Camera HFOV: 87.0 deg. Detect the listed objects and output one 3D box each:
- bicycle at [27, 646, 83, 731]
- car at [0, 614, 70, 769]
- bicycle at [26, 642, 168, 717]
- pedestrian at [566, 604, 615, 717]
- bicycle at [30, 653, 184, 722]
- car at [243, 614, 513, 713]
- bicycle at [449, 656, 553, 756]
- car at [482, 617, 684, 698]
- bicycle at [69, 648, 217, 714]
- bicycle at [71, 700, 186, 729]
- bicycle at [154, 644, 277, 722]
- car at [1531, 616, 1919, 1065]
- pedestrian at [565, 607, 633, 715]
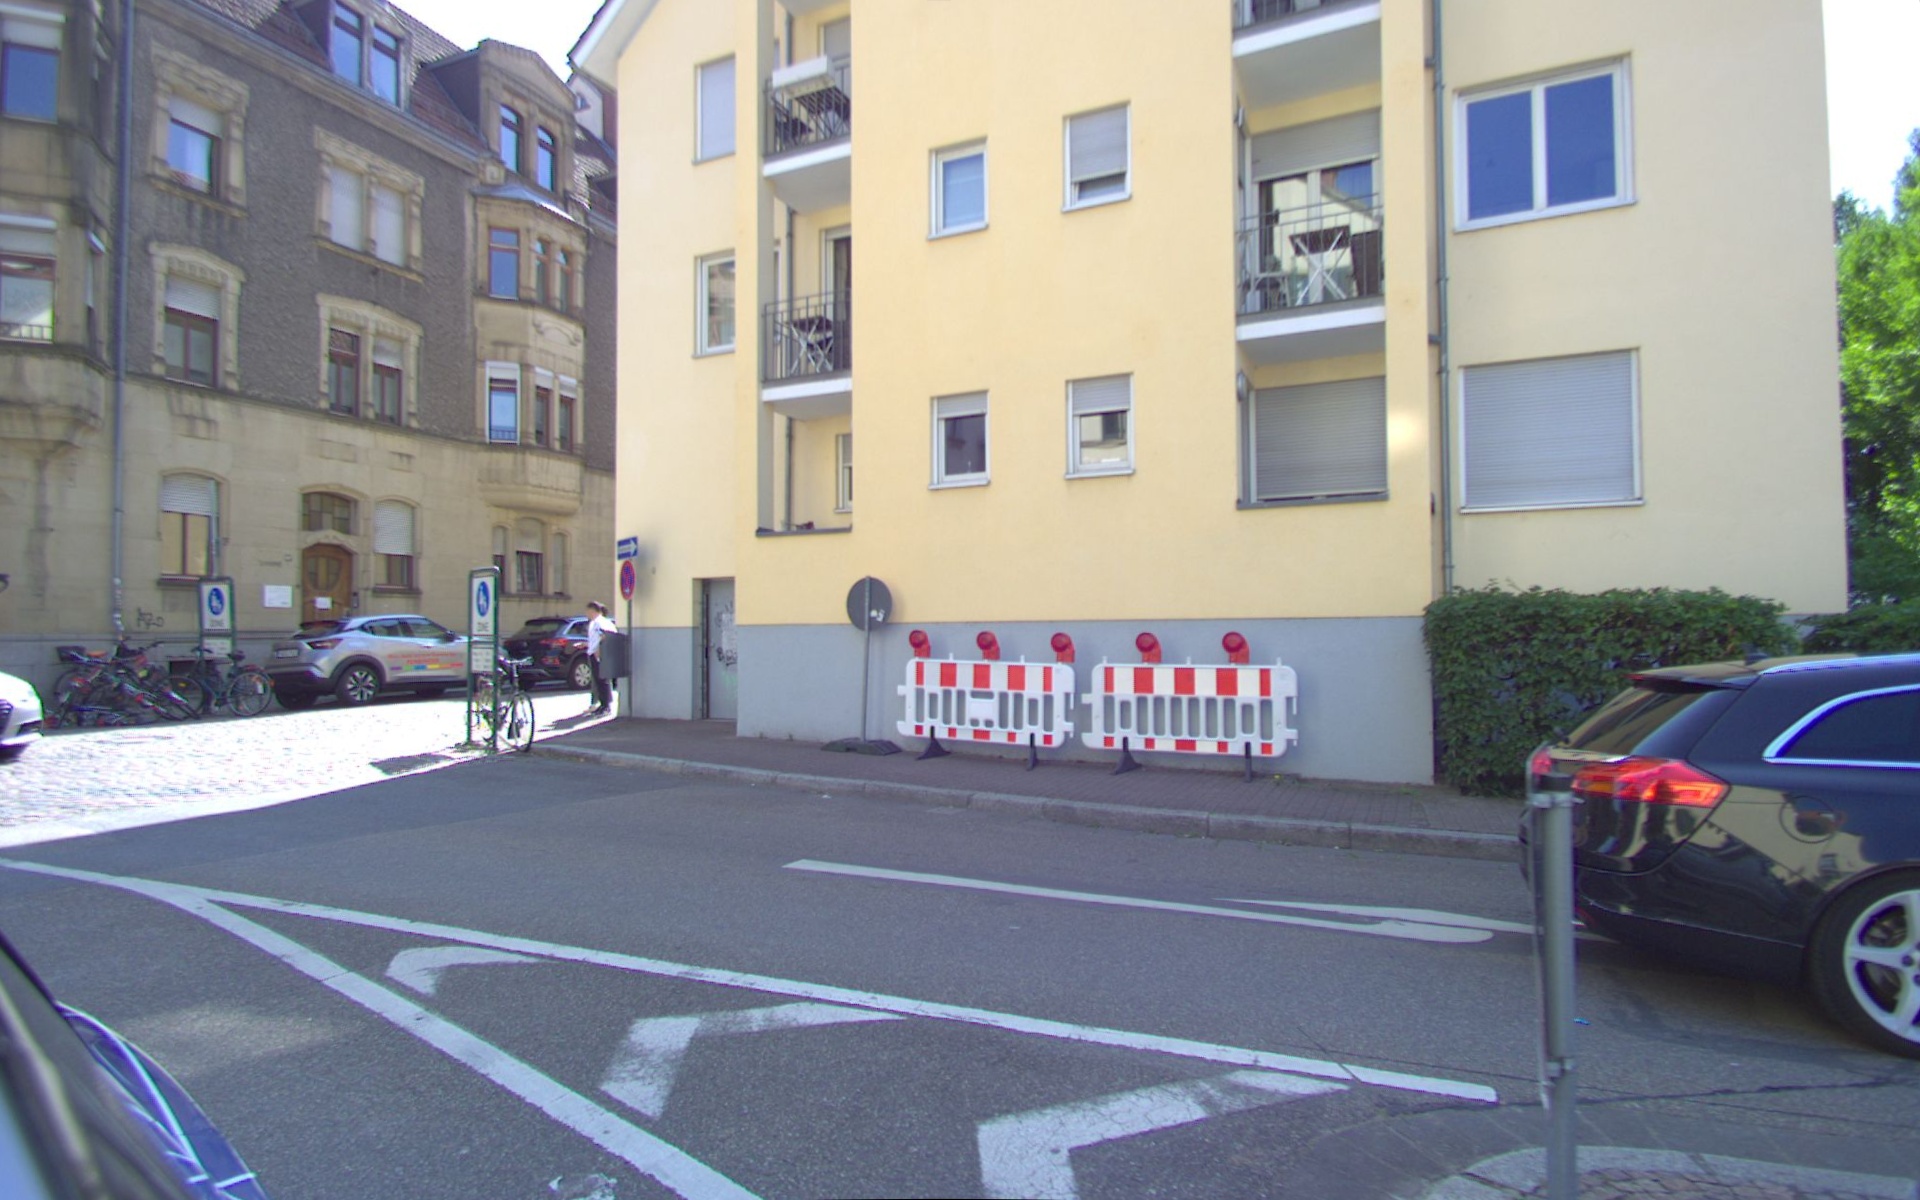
[{"bbox_3d":[-12.565,1.198,14.038,1.640,1.094,0.282,-2,1,39],"label":"bicycle"},{"bbox_3d":[-11.455,0.910,10.225,4.350,1.504,1.864,-1,-2,21],"label":"car"},{"bbox_3d":[-13.720,1.242,16.144,0.493,1.094,1.629,4,-1,24],"label":"bicycle"},{"bbox_3d":[-5.461,0.886,14.976,0.486,1.630,0.657,0,-1,-1],"label":"pedestrian"},{"bbox_3d":[-12.295,1.267,14.617,1.626,1.083,0.287,0,42,14],"label":"bicycle"},{"bbox_3d":[-10.259,1.071,18.174,1.841,1.556,3.897,-1,-2,23],"label":"car"},{"bbox_3d":[-5.569,1.243,12.232,1.909,1.087,0.386,-2,-3,42],"label":"bicycle"},{"bbox_3d":[-8.034,1.171,21.944,1.842,1.556,3.967,-2,-1,25],"label":"car"},{"bbox_3d":[-12.171,1.212,15.098,1.626,1.083,0.287,0,42,14],"label":"bicycle"},{"bbox_3d":[-11.913,1.635,14.499,1.122,0.290,1.064,-2,-2,38],"label":"bicycle"},{"bbox_3d":[-11.299,1.251,15.372,1.618,1.094,0.286,-2,-4,-3],"label":"bicycle"},{"bbox_3d":[4.859,0.819,3.587,4.692,1.473,1.707,-1,-4,22],"label":"car"},{"bbox_3d":[-5.641,0.940,15.835,0.686,1.630,0.751,-1,-2,21],"label":"pedestrian"}]
